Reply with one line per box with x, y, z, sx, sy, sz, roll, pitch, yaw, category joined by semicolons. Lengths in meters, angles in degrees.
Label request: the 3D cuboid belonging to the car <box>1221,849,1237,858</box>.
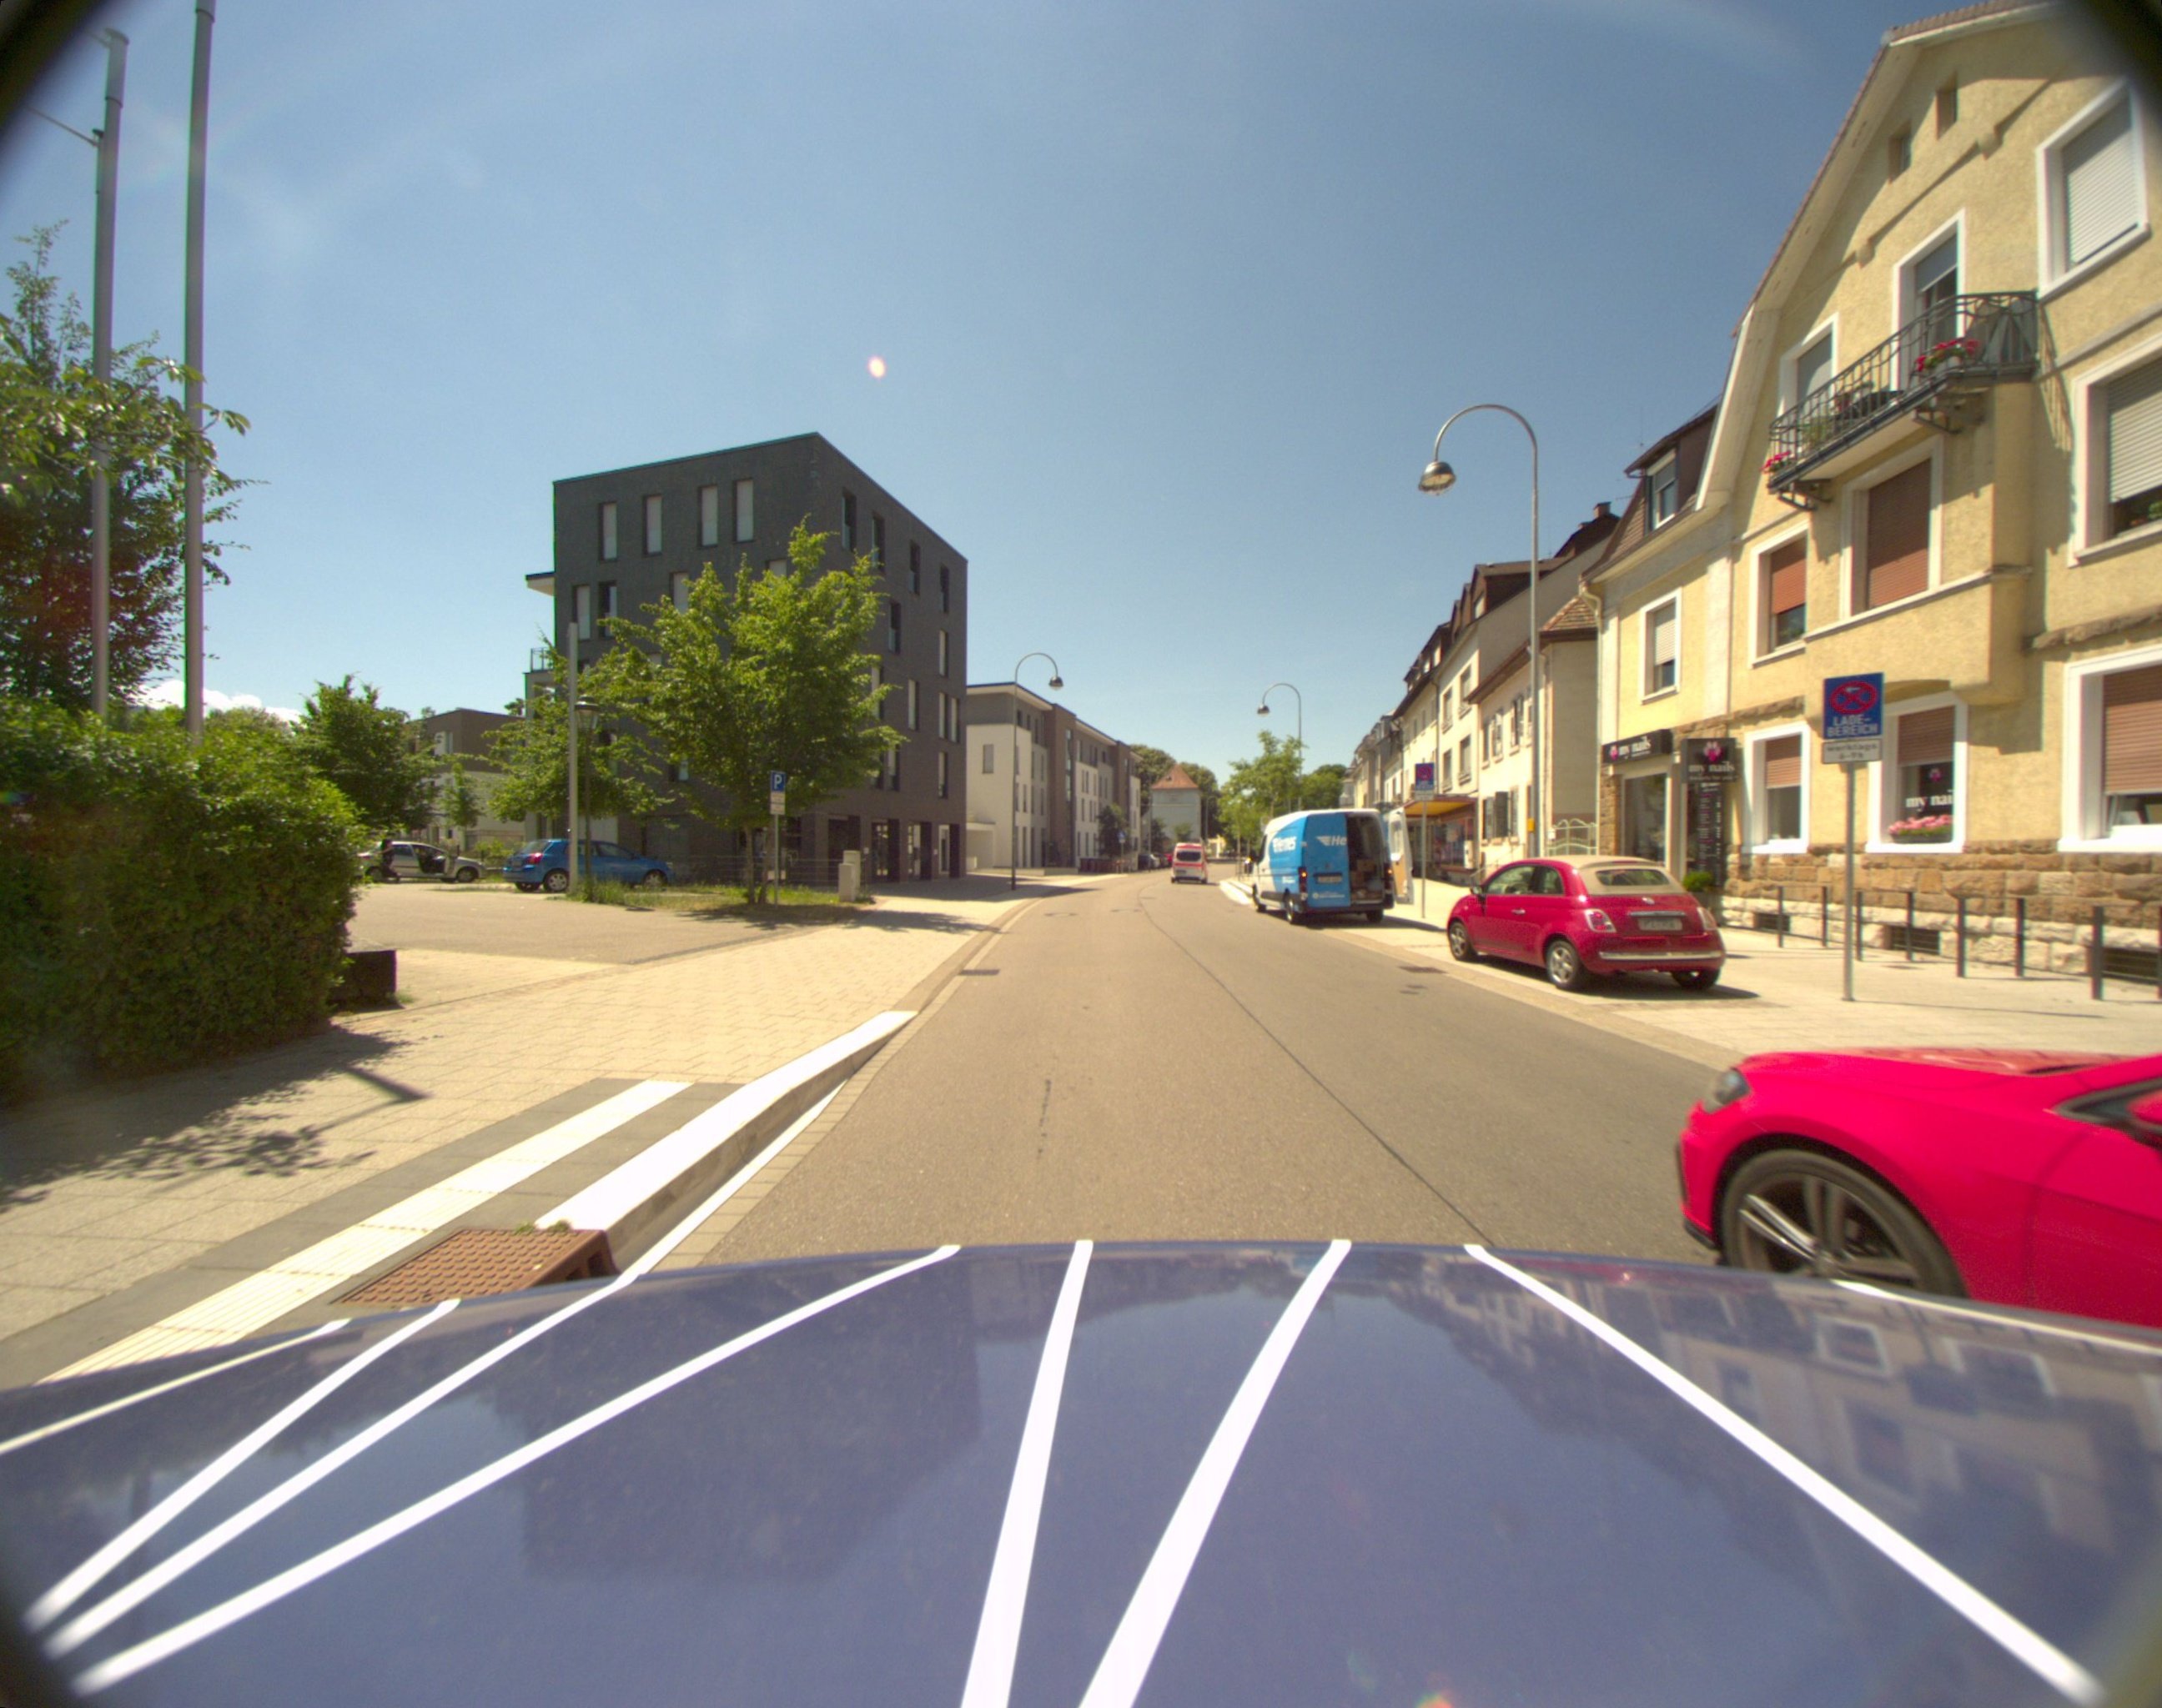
26.755;-0.123;137.467;1.622;1.445;3.860;2;1;-9;car

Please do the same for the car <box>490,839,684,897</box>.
-13.708;0.383;21.359;1.812;1.432;4.182;2;0;30;car

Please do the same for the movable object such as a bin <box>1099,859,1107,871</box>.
1.711;0.888;59.624;0.474;0.925;0.529;2;1;17;movable object such as a bin

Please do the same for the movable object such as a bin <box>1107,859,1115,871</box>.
2.350;0.891;60.054;0.465;0.925;0.523;2;1;17;movable object such as a bin

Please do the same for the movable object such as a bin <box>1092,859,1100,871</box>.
1.212;0.877;59.772;0.474;0.925;0.529;2;1;17;movable object such as a bin

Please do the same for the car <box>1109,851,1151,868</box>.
4.685;0.512;72.180;3.660;1.437;1.537;3;2;19;car

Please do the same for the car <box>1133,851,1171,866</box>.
7.449;0.480;79.454;3.612;1.454;1.619;2;1;16;car

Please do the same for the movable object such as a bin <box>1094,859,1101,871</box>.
1.316;0.845;60.382;0.465;0.925;0.523;2;1;17;movable object such as a bin

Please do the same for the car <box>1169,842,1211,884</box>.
6.633;0.499;45.898;2.159;2.348;5.252;2;0;11;car

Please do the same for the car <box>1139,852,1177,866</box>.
8.294;0.553;81.853;3.813;1.454;1.654;1;1;16;car

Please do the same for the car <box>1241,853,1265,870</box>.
16.598;0.730;73.249;1.682;1.475;3.774;-2;0;22;car

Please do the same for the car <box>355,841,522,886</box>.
-22.906;0.338;27.258;1.812;1.432;4.182;2;0;30;car

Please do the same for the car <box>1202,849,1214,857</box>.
25.898;-0.212;154.525;1.685;1.475;4.085;1;0;-1;car

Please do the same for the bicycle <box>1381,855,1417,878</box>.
18.081;0.703;43.229;1.767;1.227;0.617;-2;0;16;bicycle

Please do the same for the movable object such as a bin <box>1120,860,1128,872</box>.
3.348;0.929;59.725;0.474;0.925;0.529;2;1;17;movable object such as a bin

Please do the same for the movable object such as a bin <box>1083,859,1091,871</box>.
0.463;0.861;59.914;0.474;0.925;0.529;2;1;17;movable object such as a bin

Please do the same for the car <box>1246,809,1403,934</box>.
5.528;0.359;18.139;2.097;2.483;5.503;-1;0;2;car

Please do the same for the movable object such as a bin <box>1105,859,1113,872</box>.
2.215;0.899;59.475;0.474;0.925;0.529;2;1;17;movable object such as a bin

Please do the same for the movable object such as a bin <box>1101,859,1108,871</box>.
1.859;0.872;60.213;0.465;0.925;0.523;2;1;17;movable object such as a bin

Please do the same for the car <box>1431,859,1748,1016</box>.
6.016;0.862;9.532;1.564;1.512;3.514;-1;1;-1;car

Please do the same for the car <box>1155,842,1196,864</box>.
11.998;-0.139;96.080;4.860;2.720;1.853;1;1;17;car

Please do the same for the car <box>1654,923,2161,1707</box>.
3.091;0.987;0.693;1.921;1.418;3.978;2;0;-4;car

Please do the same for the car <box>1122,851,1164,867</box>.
6.097;0.478;74.297;3.813;1.474;1.780;1;1;15;car

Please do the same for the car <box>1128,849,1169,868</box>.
6.847;0.431;76.953;3.813;1.776;1.842;1;1;15;car

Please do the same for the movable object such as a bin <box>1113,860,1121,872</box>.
2.781;0.921;59.301;0.474;0.925;0.529;2;1;17;movable object such as a bin
